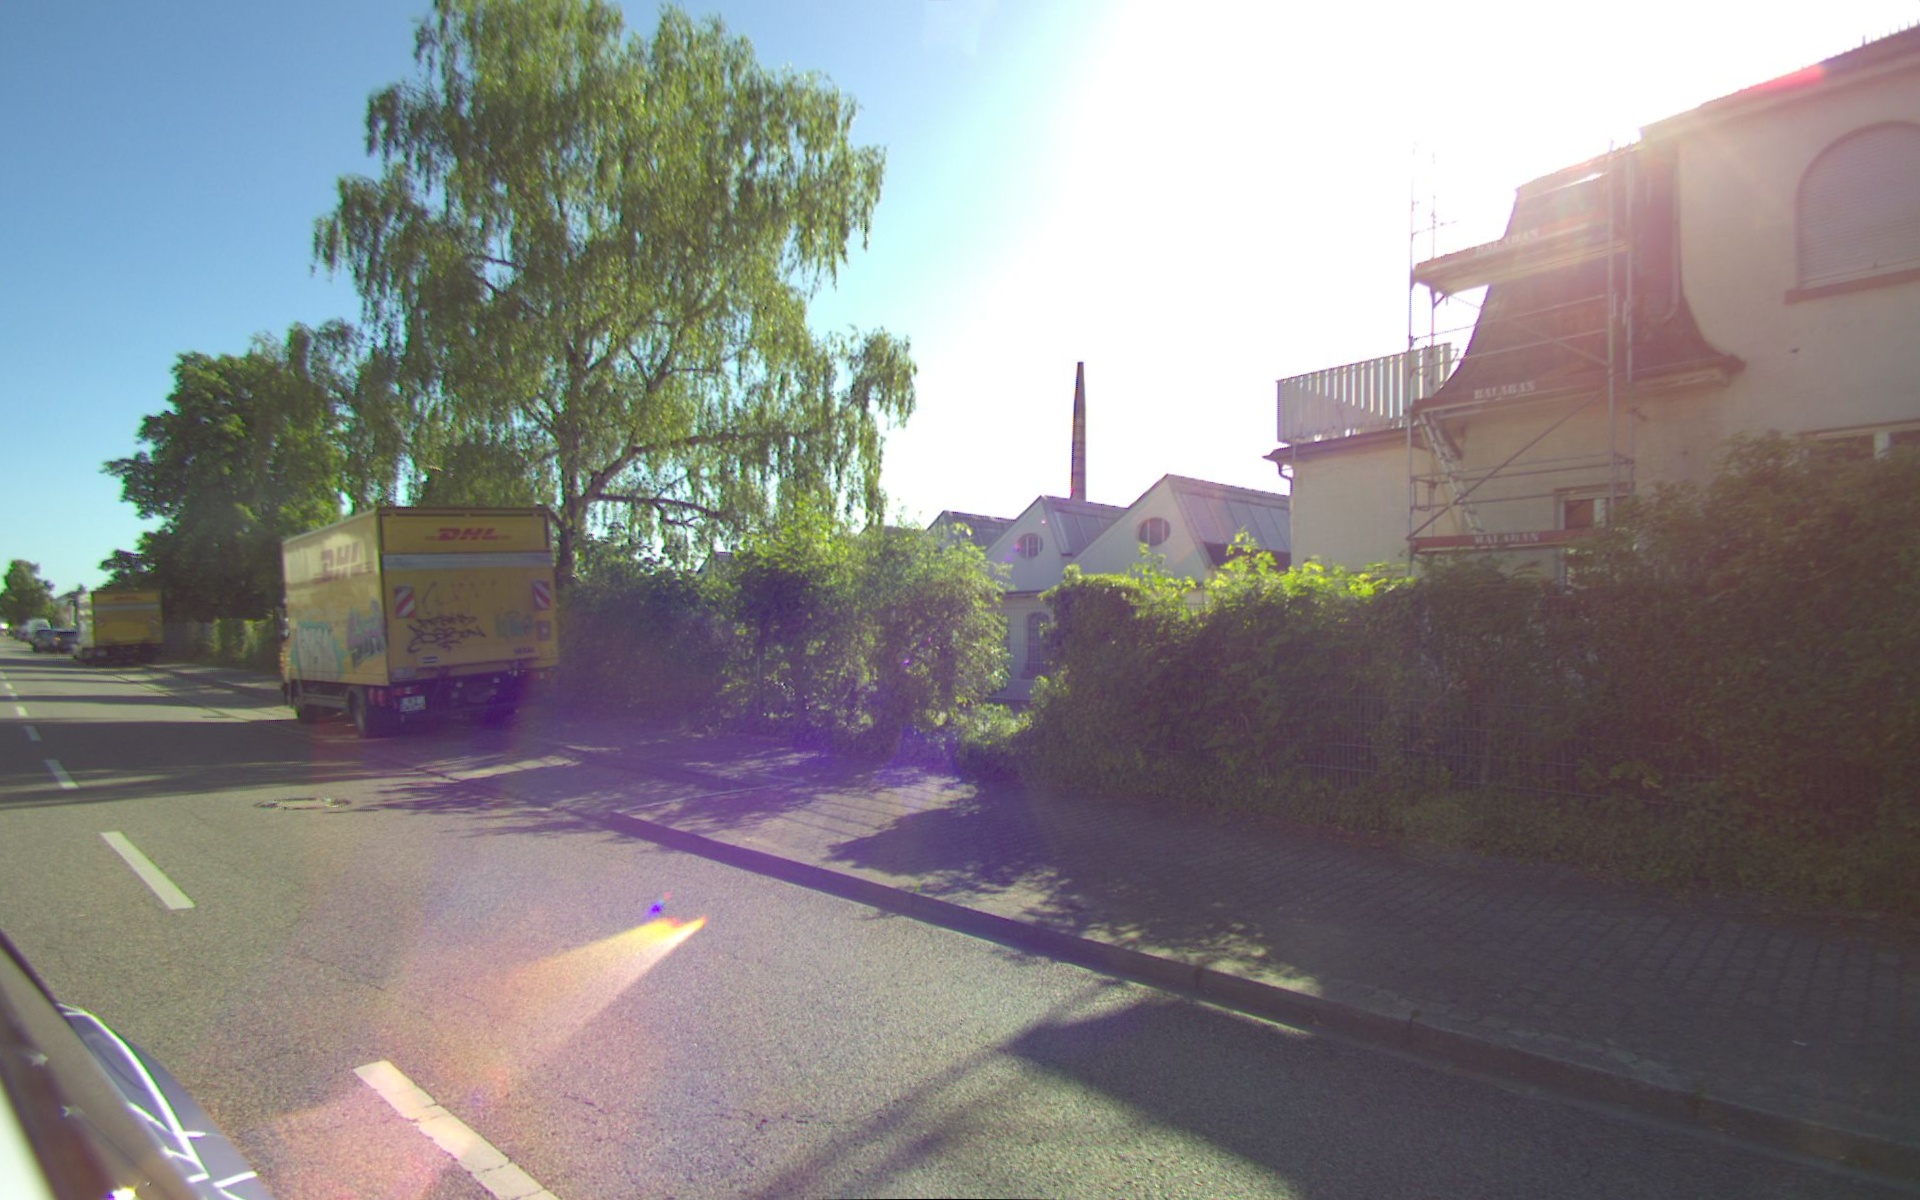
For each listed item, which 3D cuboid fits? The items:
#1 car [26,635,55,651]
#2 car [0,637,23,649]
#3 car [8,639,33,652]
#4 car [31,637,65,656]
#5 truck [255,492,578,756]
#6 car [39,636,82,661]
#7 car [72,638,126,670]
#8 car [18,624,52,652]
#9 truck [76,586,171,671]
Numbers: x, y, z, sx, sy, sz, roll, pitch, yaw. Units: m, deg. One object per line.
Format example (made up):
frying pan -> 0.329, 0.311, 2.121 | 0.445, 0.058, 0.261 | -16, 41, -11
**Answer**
car -> -96.557, 4.512, 106.256 | 4.295, 1.643, 1.825 | -2, -5, 43
car -> -133.088, 6.056, 141.880 | 4.291, 1.643, 1.827 | -2, -5, 40
car -> -118.788, 5.772, 127.999 | 4.293, 1.643, 1.826 | -2, -5, 41
car -> -82.256, 4.180, 91.273 | 4.295, 1.643, 1.825 | -2, -5, 43
truck -> -9.889, 0.398, 17.857 | 2.809, 3.647, 8.012 | -3, 0, -44
car -> -63.720, 3.428, 71.677 | 4.295, 1.643, 1.825 | -2, -5, 43
car -> -47.241, 2.958, 55.494 | 1.824, 1.643, 4.297 | 5, -5, -45
car -> -105.774, 4.346, 115.698 | 6.339, 3.015, 2.144 | -2, -5, 42
truck -> -40.919, 1.468, 49.392 | 2.756, 3.787, 7.903 | 5, -5, -44
